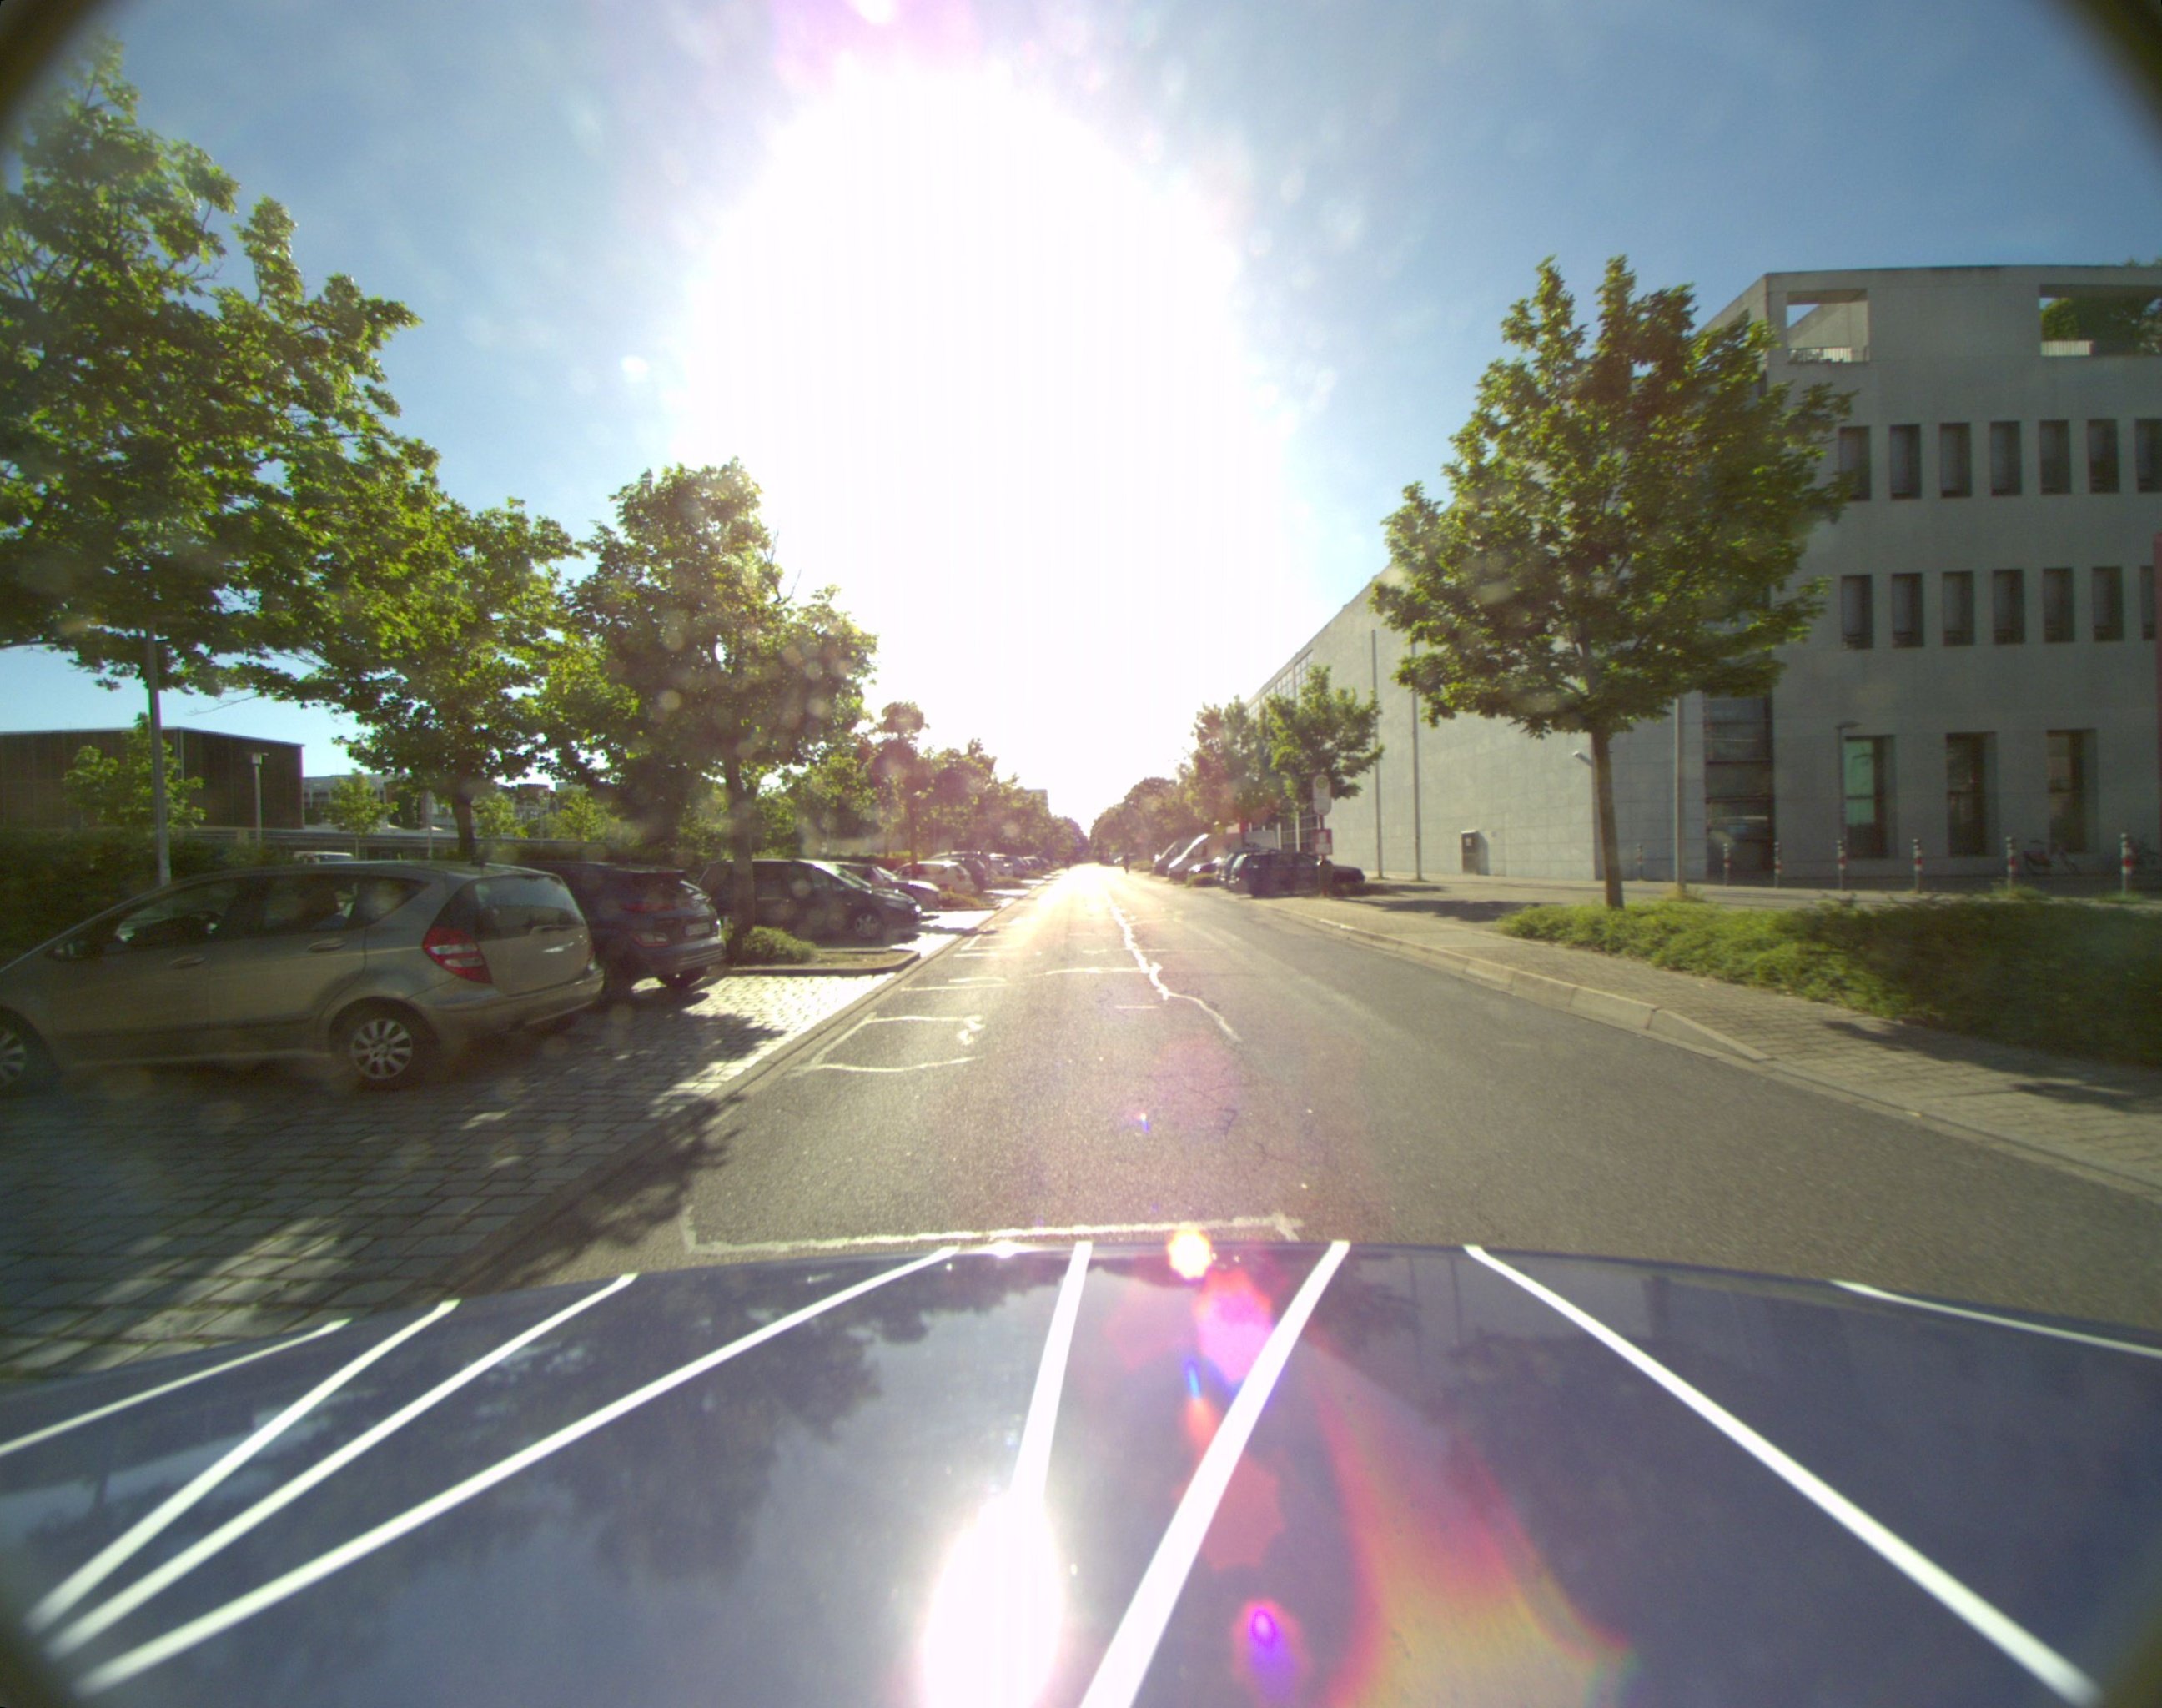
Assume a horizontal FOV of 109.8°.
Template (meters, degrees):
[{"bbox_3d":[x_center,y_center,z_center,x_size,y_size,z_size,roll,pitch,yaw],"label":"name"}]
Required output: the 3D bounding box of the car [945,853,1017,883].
[{"bbox_3d":[-5.404,0.751,41.387,3.717,1.516,1.676,-1,1,0],"label":"car"}]

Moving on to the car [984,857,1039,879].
[{"bbox_3d":[-4.829,0.979,53.095,3.717,1.418,1.676,-1,1,0],"label":"car"}]

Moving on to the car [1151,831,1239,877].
[{"bbox_3d":[7.670,0.005,51.537,5.582,2.622,2.010,-4,1,3],"label":"car"}]

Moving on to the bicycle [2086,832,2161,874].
[{"bbox_3d":[31.508,-0.043,22.683,2.262,1.203,0.717,-1,1,-5],"label":"bicycle"}]

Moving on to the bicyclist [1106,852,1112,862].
[{"bbox_3d":[3.591,0.345,96.768,0.792,1.215,0.823,-1,1,2],"label":"bicyclist"}]

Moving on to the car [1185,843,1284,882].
[{"bbox_3d":[7.318,0.395,36.415,4.315,1.505,1.693,-4,1,0],"label":"car"}]

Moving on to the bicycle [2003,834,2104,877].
[{"bbox_3d":[28.778,0.044,22.496,2.262,1.203,0.717,-1,1,-5],"label":"bicycle"}]

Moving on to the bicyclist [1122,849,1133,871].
[{"bbox_3d":[3.685,0.491,59.960,0.792,1.696,1.104,-1,1,2],"label":"bicyclist"}]

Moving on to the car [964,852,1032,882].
[{"bbox_3d":[-4.777,0.740,43.999,3.717,1.662,1.676,-1,1,0],"label":"car"}]

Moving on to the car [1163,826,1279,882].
[{"bbox_3d":[7.258,0.014,39.759,5.582,2.468,2.010,-4,1,3],"label":"car"}]

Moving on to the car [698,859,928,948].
[{"bbox_3d":[-5.206,0.930,15.142,3.961,1.591,1.676,-1,1,-2],"label":"car"}]

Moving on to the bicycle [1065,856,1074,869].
[{"bbox_3d":[-1.131,0.808,73.630,0.792,1.215,2.263,-1,0,2],"label":"bicycle"}]

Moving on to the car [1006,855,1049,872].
[{"bbox_3d":[-4.701,0.873,67.302,3.717,1.418,1.676,-1,1,0],"label":"car"}]

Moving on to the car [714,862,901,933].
[{"bbox_3d":[-6.269,0.978,17.732,3.717,1.505,1.676,-1,1,0],"label":"car"}]

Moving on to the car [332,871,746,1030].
[{"bbox_3d":[-6.038,0.989,8.652,3.713,1.505,1.736,-1,1,11],"label":"car"}]

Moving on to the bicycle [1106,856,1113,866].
[{"bbox_3d":[3.600,0.832,96.888,0.792,1.215,2.263,-1,0,2],"label":"bicycle"}]

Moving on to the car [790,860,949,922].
[{"bbox_3d":[-5.515,0.953,20.137,3.717,1.505,1.676,-1,1,0],"label":"car"}]

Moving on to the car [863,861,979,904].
[{"bbox_3d":[-5.664,0.990,27.209,3.761,1.418,1.731,-1,1,0],"label":"car"}]

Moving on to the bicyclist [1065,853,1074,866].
[{"bbox_3d":[-1.131,0.510,73.617,0.792,1.215,1.063,-1,1,2],"label":"bicyclist"}]

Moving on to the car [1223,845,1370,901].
[{"bbox_3d":[7.069,0.610,25.261,4.315,1.505,1.718,-4,1,0],"label":"car"}]

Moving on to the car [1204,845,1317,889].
[{"bbox_3d":[7.534,0.517,32.148,4.315,1.505,1.693,-4,1,0],"label":"car"}]

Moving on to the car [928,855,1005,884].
[{"bbox_3d":[-5.852,0.790,39.194,3.717,1.418,1.676,-1,1,0],"label":"car"}]

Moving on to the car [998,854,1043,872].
[{"bbox_3d":[-5.151,0.773,64.826,3.717,1.418,1.676,-1,1,0],"label":"car"}]

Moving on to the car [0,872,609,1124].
[{"bbox_3d":[-6.029,0.976,5.830,3.717,1.560,1.676,-1,1,0],"label":"car"}]

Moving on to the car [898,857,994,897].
[{"bbox_3d":[-5.613,0.925,31.854,3.717,1.557,1.676,-1,1,0],"label":"car"}]

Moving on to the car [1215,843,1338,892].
[{"bbox_3d":[7.606,0.503,29.822,4.315,1.574,1.693,-4,1,0],"label":"car"}]

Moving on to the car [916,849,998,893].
[{"bbox_3d":[-5.585,0.746,34.507,3.391,1.877,1.696,-1,1,0],"label":"car"}]

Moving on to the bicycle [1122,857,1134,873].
[{"bbox_3d":[3.690,0.883,59.861,0.792,1.215,2.263,-1,0,2],"label":"bicycle"}]
